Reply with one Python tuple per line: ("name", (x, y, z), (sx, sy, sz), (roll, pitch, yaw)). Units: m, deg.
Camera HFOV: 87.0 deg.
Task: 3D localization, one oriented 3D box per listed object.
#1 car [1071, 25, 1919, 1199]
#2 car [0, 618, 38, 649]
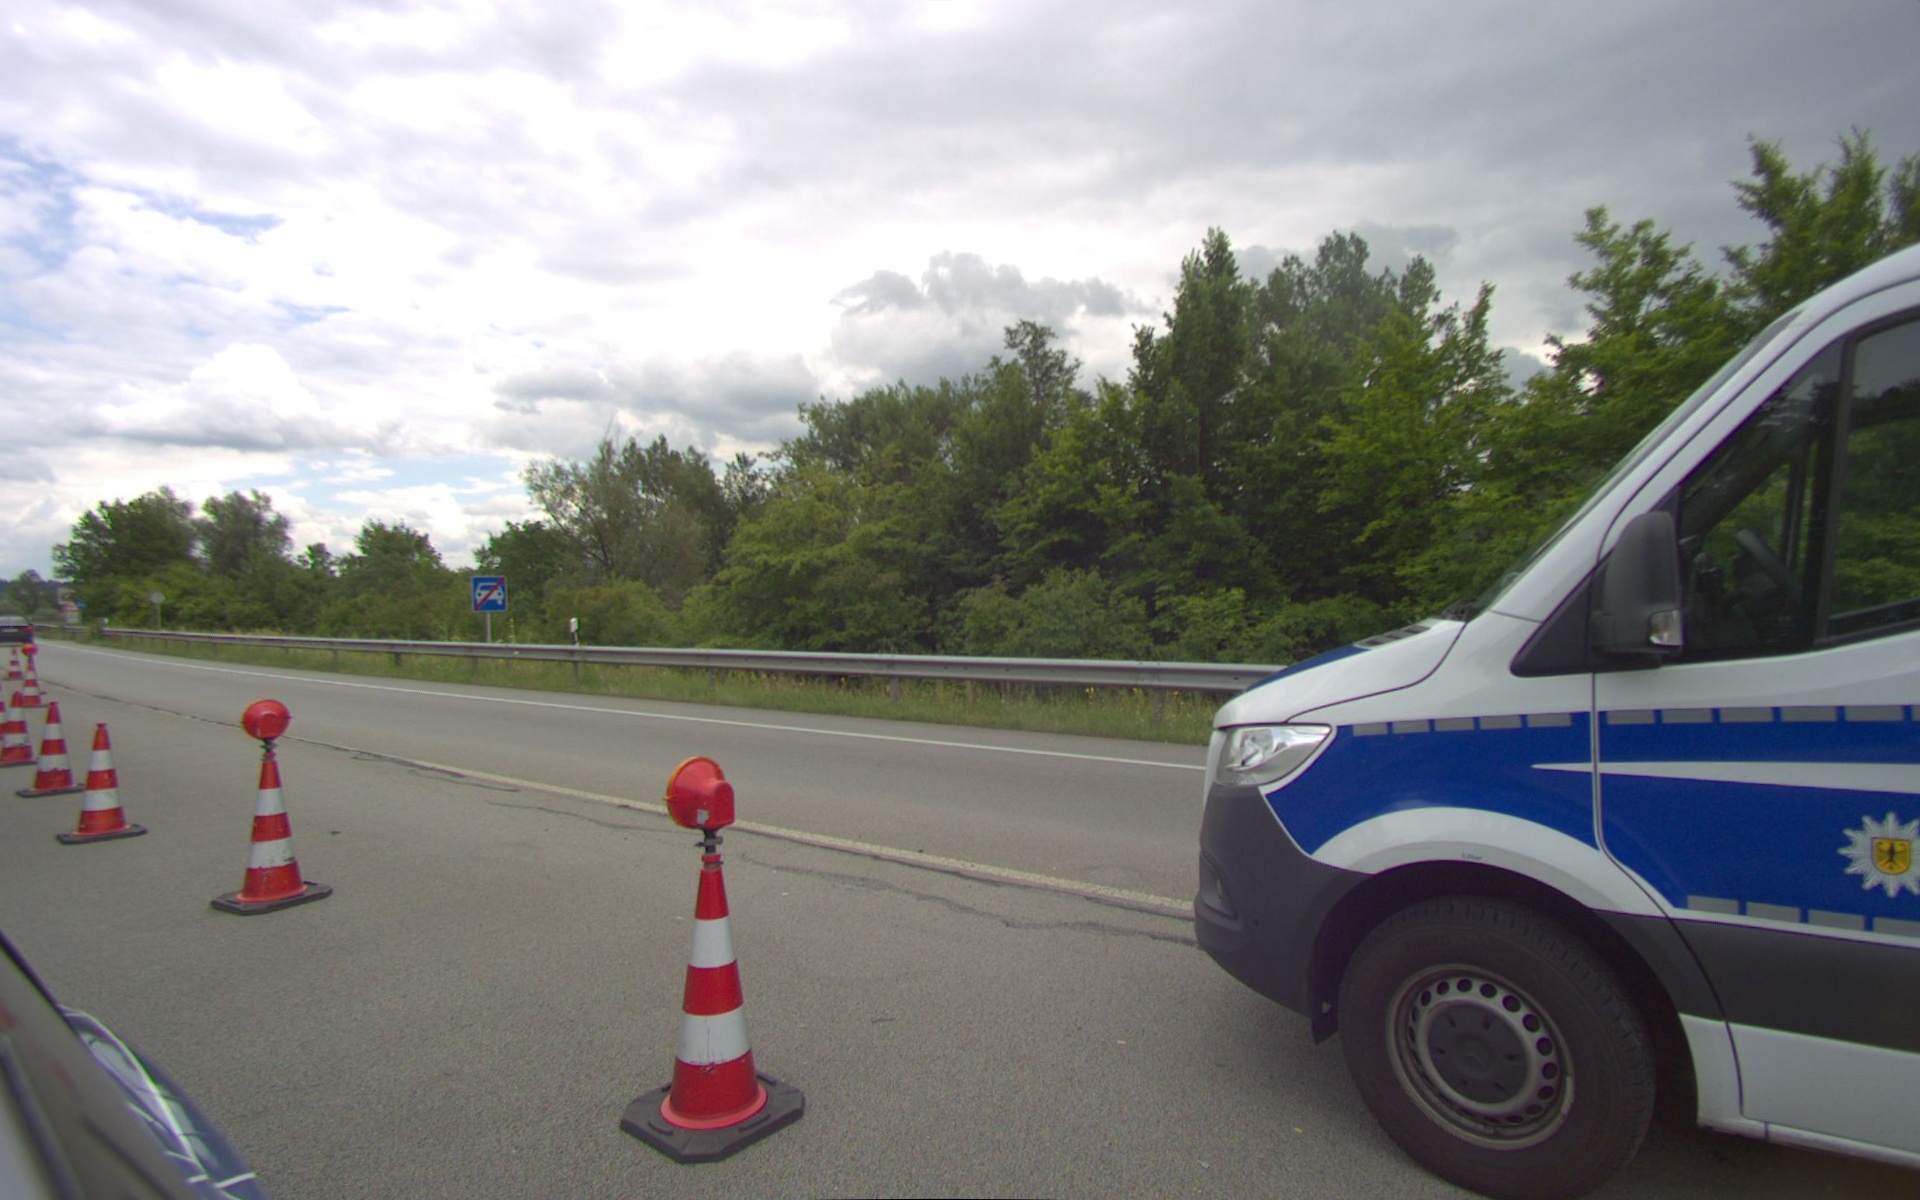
("car", (3.033, 0.143, 2.228), (5.272, 2.482, 2.010), (-1, -1, 38))
("car", (-47.004, 1.658, 50.130), (4.338, 1.447, 1.690), (-1, -1, 44))
